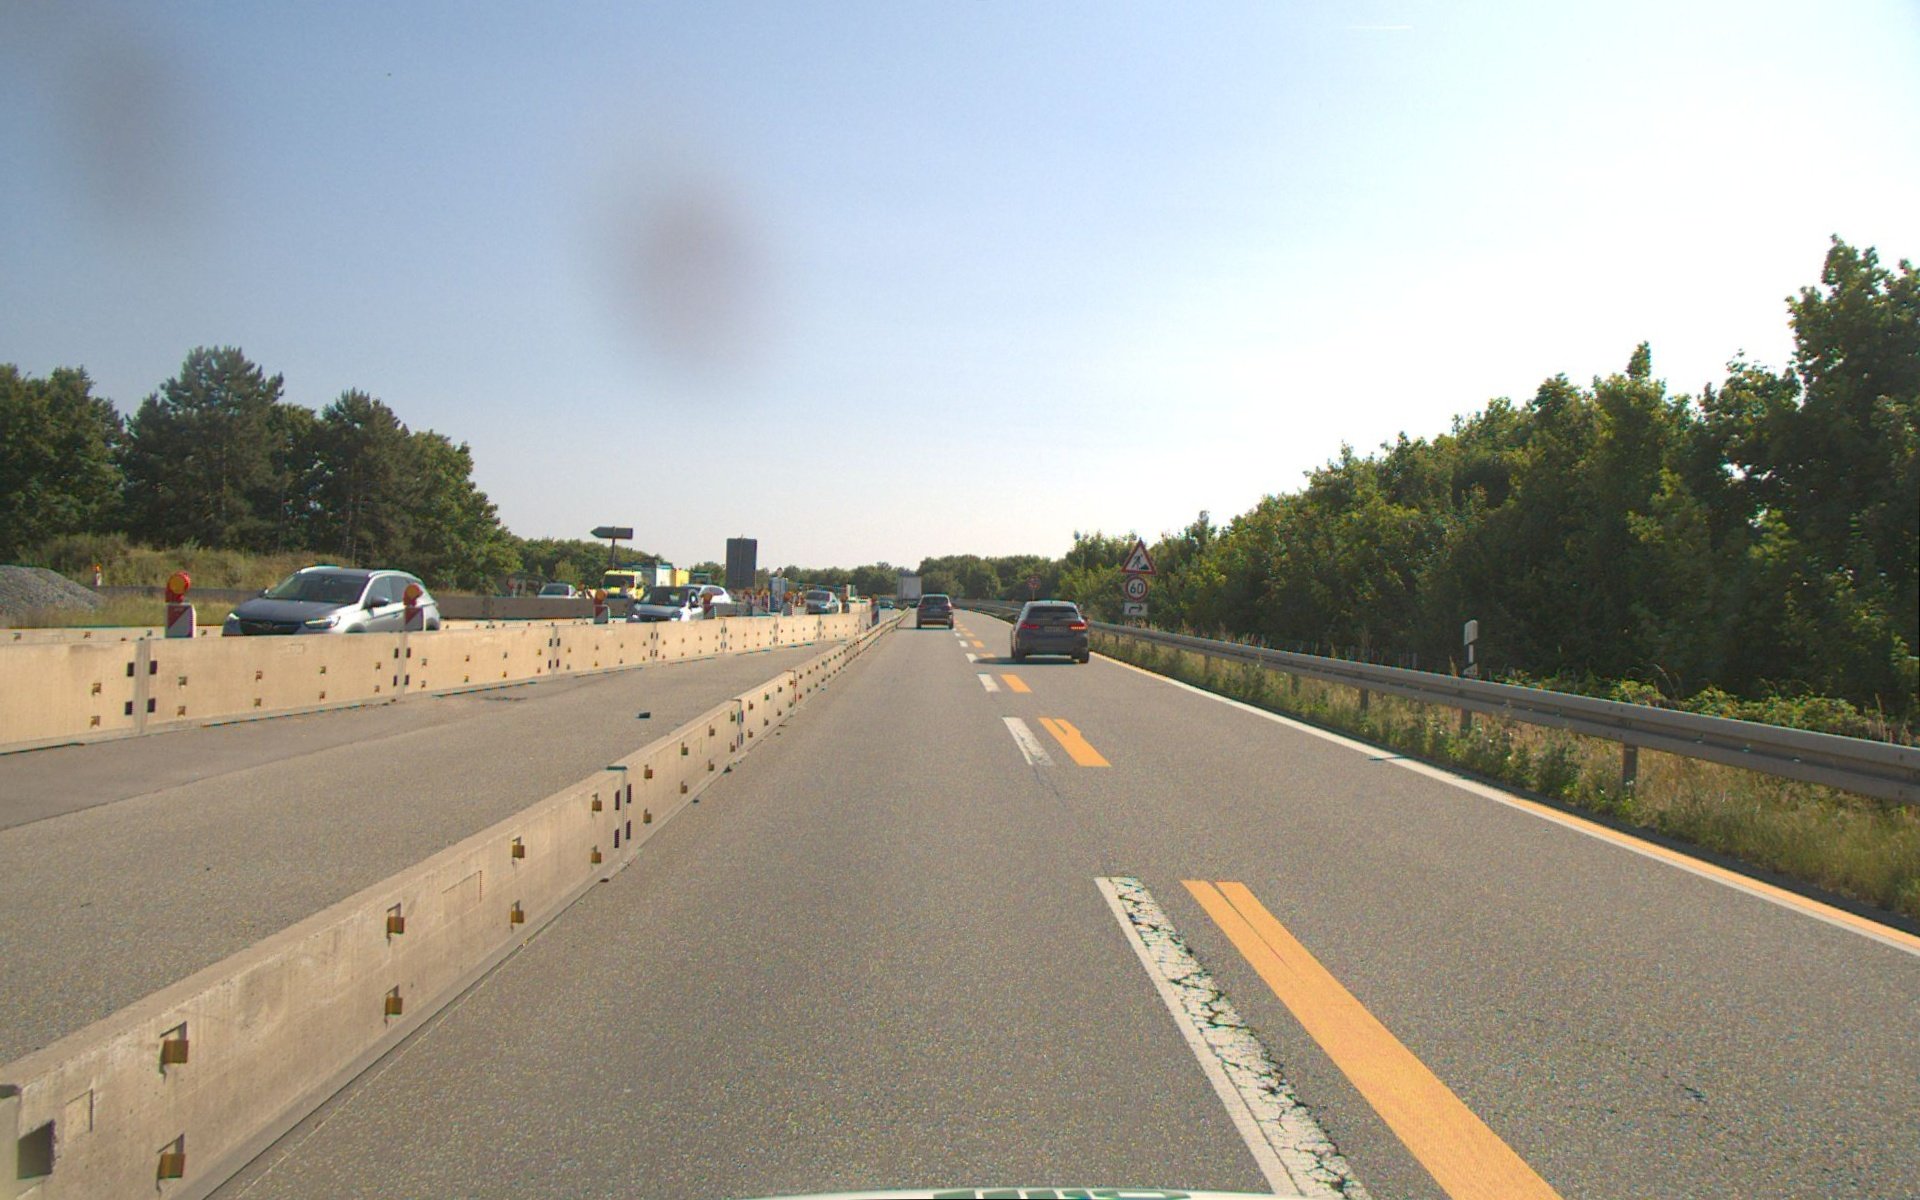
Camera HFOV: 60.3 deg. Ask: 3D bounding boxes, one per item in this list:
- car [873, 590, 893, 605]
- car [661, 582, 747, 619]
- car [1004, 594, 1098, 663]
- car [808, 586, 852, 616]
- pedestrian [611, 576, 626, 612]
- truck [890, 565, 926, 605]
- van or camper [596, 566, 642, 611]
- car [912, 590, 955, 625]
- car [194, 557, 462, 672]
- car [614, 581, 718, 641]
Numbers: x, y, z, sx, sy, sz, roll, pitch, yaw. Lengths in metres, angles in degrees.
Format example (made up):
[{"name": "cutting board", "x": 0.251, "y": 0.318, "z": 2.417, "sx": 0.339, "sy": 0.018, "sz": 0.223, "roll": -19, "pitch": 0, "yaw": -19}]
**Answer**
[{"name": "car", "x": -8.274, "y": -0.289, "z": 177.352, "sx": 1.821, "sy": 1.499, "sz": 4.684, "roll": 3, "pitch": 0, "yaw": 0}, {"name": "car", "x": -11.821, "y": 0.025, "z": 76.624, "sx": 1.916, "sy": 1.581, "sz": 3.996, "roll": 2, "pitch": 0, "yaw": 26}, {"name": "car", "x": 2.176, "y": 0.652, "z": 40.407, "sx": 1.882, "sy": 1.520, "sz": 3.998, "roll": 2, "pitch": 0, "yaw": -2}, {"name": "car", "x": -7.514, "y": 0.044, "z": 96.083, "sx": 1.952, "sy": 1.650, "sz": 4.849, "roll": 1, "pitch": 0, "yaw": 2}, {"name": "pedestrian", "x": -18.136, "y": -0.313, "z": 87.709, "sx": 0.728, "sy": 1.852, "sz": 0.795, "roll": 1, "pitch": 0, "yaw": -12}, {"name": "truck", "x": -6.977, "y": -2.008, "z": 220.148, "sx": 3.689, "sy": 4.997, "sz": 14.118, "roll": 2, "pitch": 0, "yaw": -6}, {"name": "van or camper", "x": -19.256, "y": -0.647, "z": 93.603, "sx": 1.955, "sy": 2.419, "sz": 6.192, "roll": 1, "pitch": 0, "yaw": -7}, {"name": "car", "x": -1.219, "y": 0.340, "z": 78.605, "sx": 1.953, "sy": 1.594, "sz": 4.000, "roll": 1, "pitch": 0, "yaw": 0}, {"name": "car", "x": -9.568, "y": 0.199, "z": 25.500, "sx": 1.951, "sy": 1.542, "sz": 4.583, "roll": 2, "pitch": 0, "yaw": 6}, {"name": "car", "x": -8.068, "y": 0.297, "z": 45.733, "sx": 1.675, "sy": 1.542, "sz": 4.181, "roll": 1, "pitch": 0, "yaw": 6}]
